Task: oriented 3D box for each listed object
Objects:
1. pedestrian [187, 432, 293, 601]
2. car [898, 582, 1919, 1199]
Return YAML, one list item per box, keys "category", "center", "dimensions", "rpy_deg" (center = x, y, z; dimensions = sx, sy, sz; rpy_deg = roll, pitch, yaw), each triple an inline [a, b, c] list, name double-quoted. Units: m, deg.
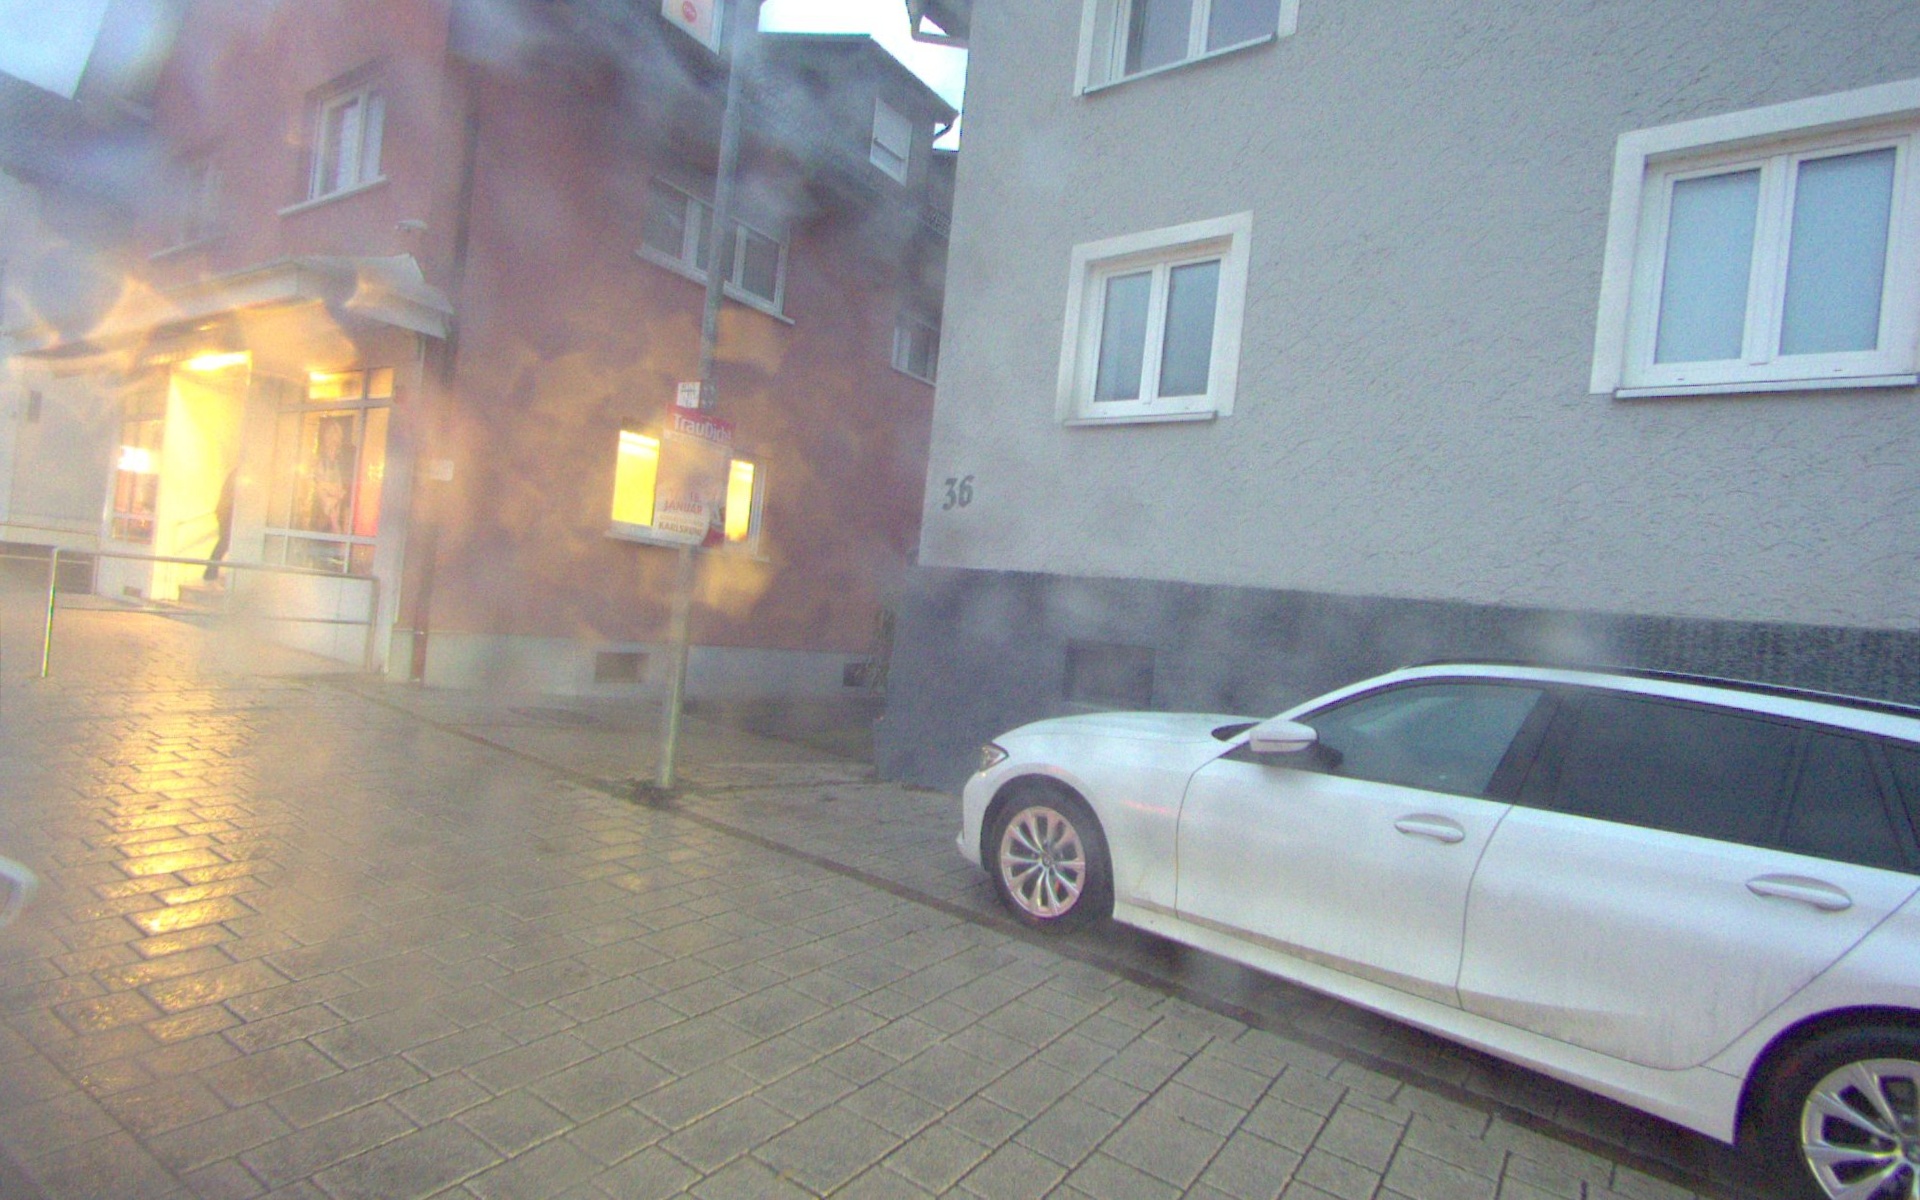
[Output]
- category: "pedestrian"
  center: [-8.734, -0.997, 12.203]
  dimensions: [0.812, 1.910, 0.663]
  rpy_deg: [6, -1, 38]
- category: "car"
  center: [2.052, 0.925, 4.078]
  dimensions: [4.478, 1.485, 1.880]
  rpy_deg: [7, 1, 41]
